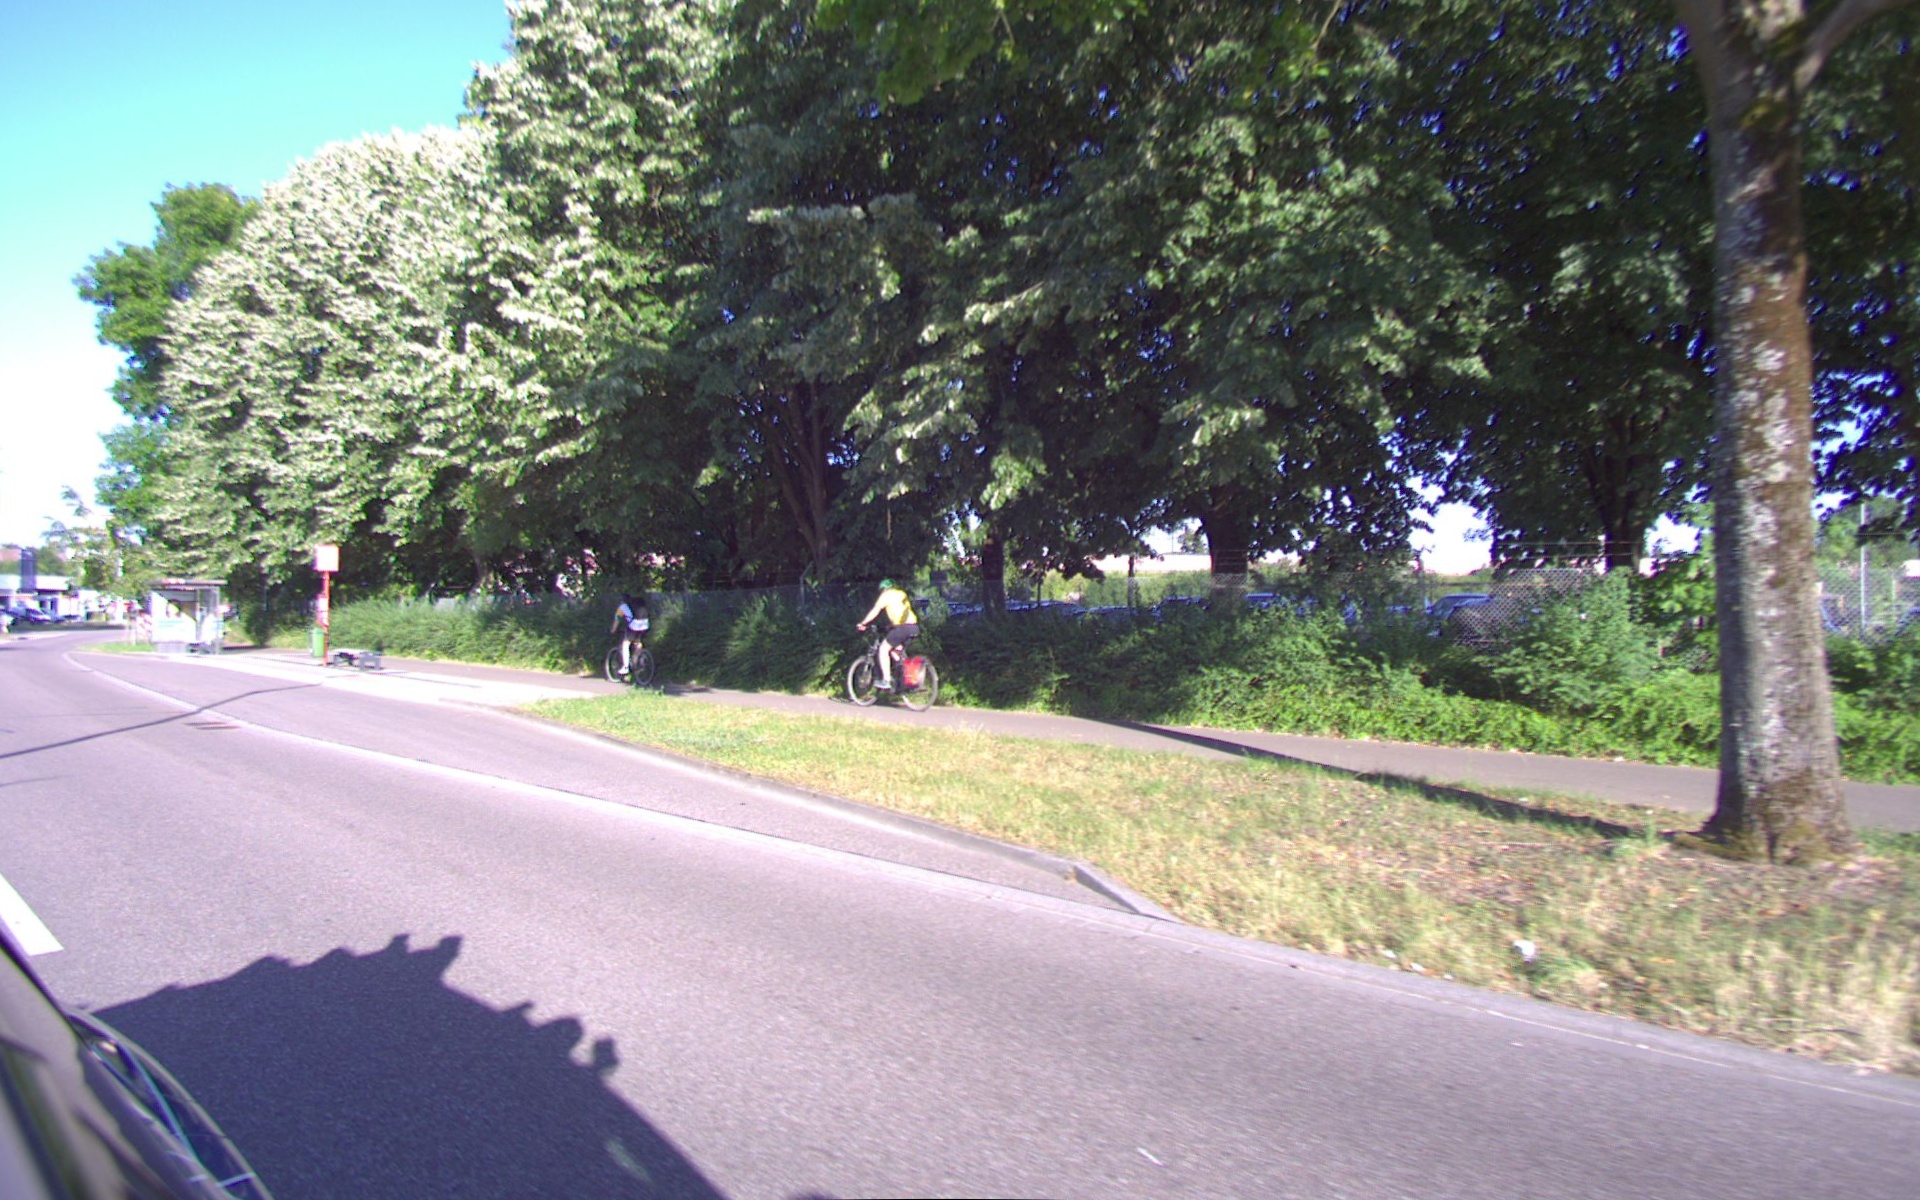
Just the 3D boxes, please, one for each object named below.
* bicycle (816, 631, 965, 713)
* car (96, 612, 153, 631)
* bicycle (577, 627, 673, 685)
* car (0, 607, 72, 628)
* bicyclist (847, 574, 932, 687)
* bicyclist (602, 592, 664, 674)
[{"bbox_3d":[-1.008,0.982,14.291,2.216,1.047,0.757,-1,-2,41],"label":"bicycle"},{"bbox_3d":[-94.075,2.440,113.992,4.788,2.029,2.295,0,-2,7],"label":"car"},{"bbox_3d":[-6.518,1.051,19.634,2.216,1.047,0.757,-1,-2,41],"label":"bicycle"},{"bbox_3d":[-90.866,1.701,99.176,5.205,2.029,2.410,0,-2,-9],"label":"car"},{"bbox_3d":[-0.999,0.426,14.311,0.951,1.541,0.723,-1,-2,41],"label":"bicyclist"},{"bbox_3d":[-6.302,0.626,19.494,0.951,1.541,0.723,-1,-2,41],"label":"bicyclist"}]
